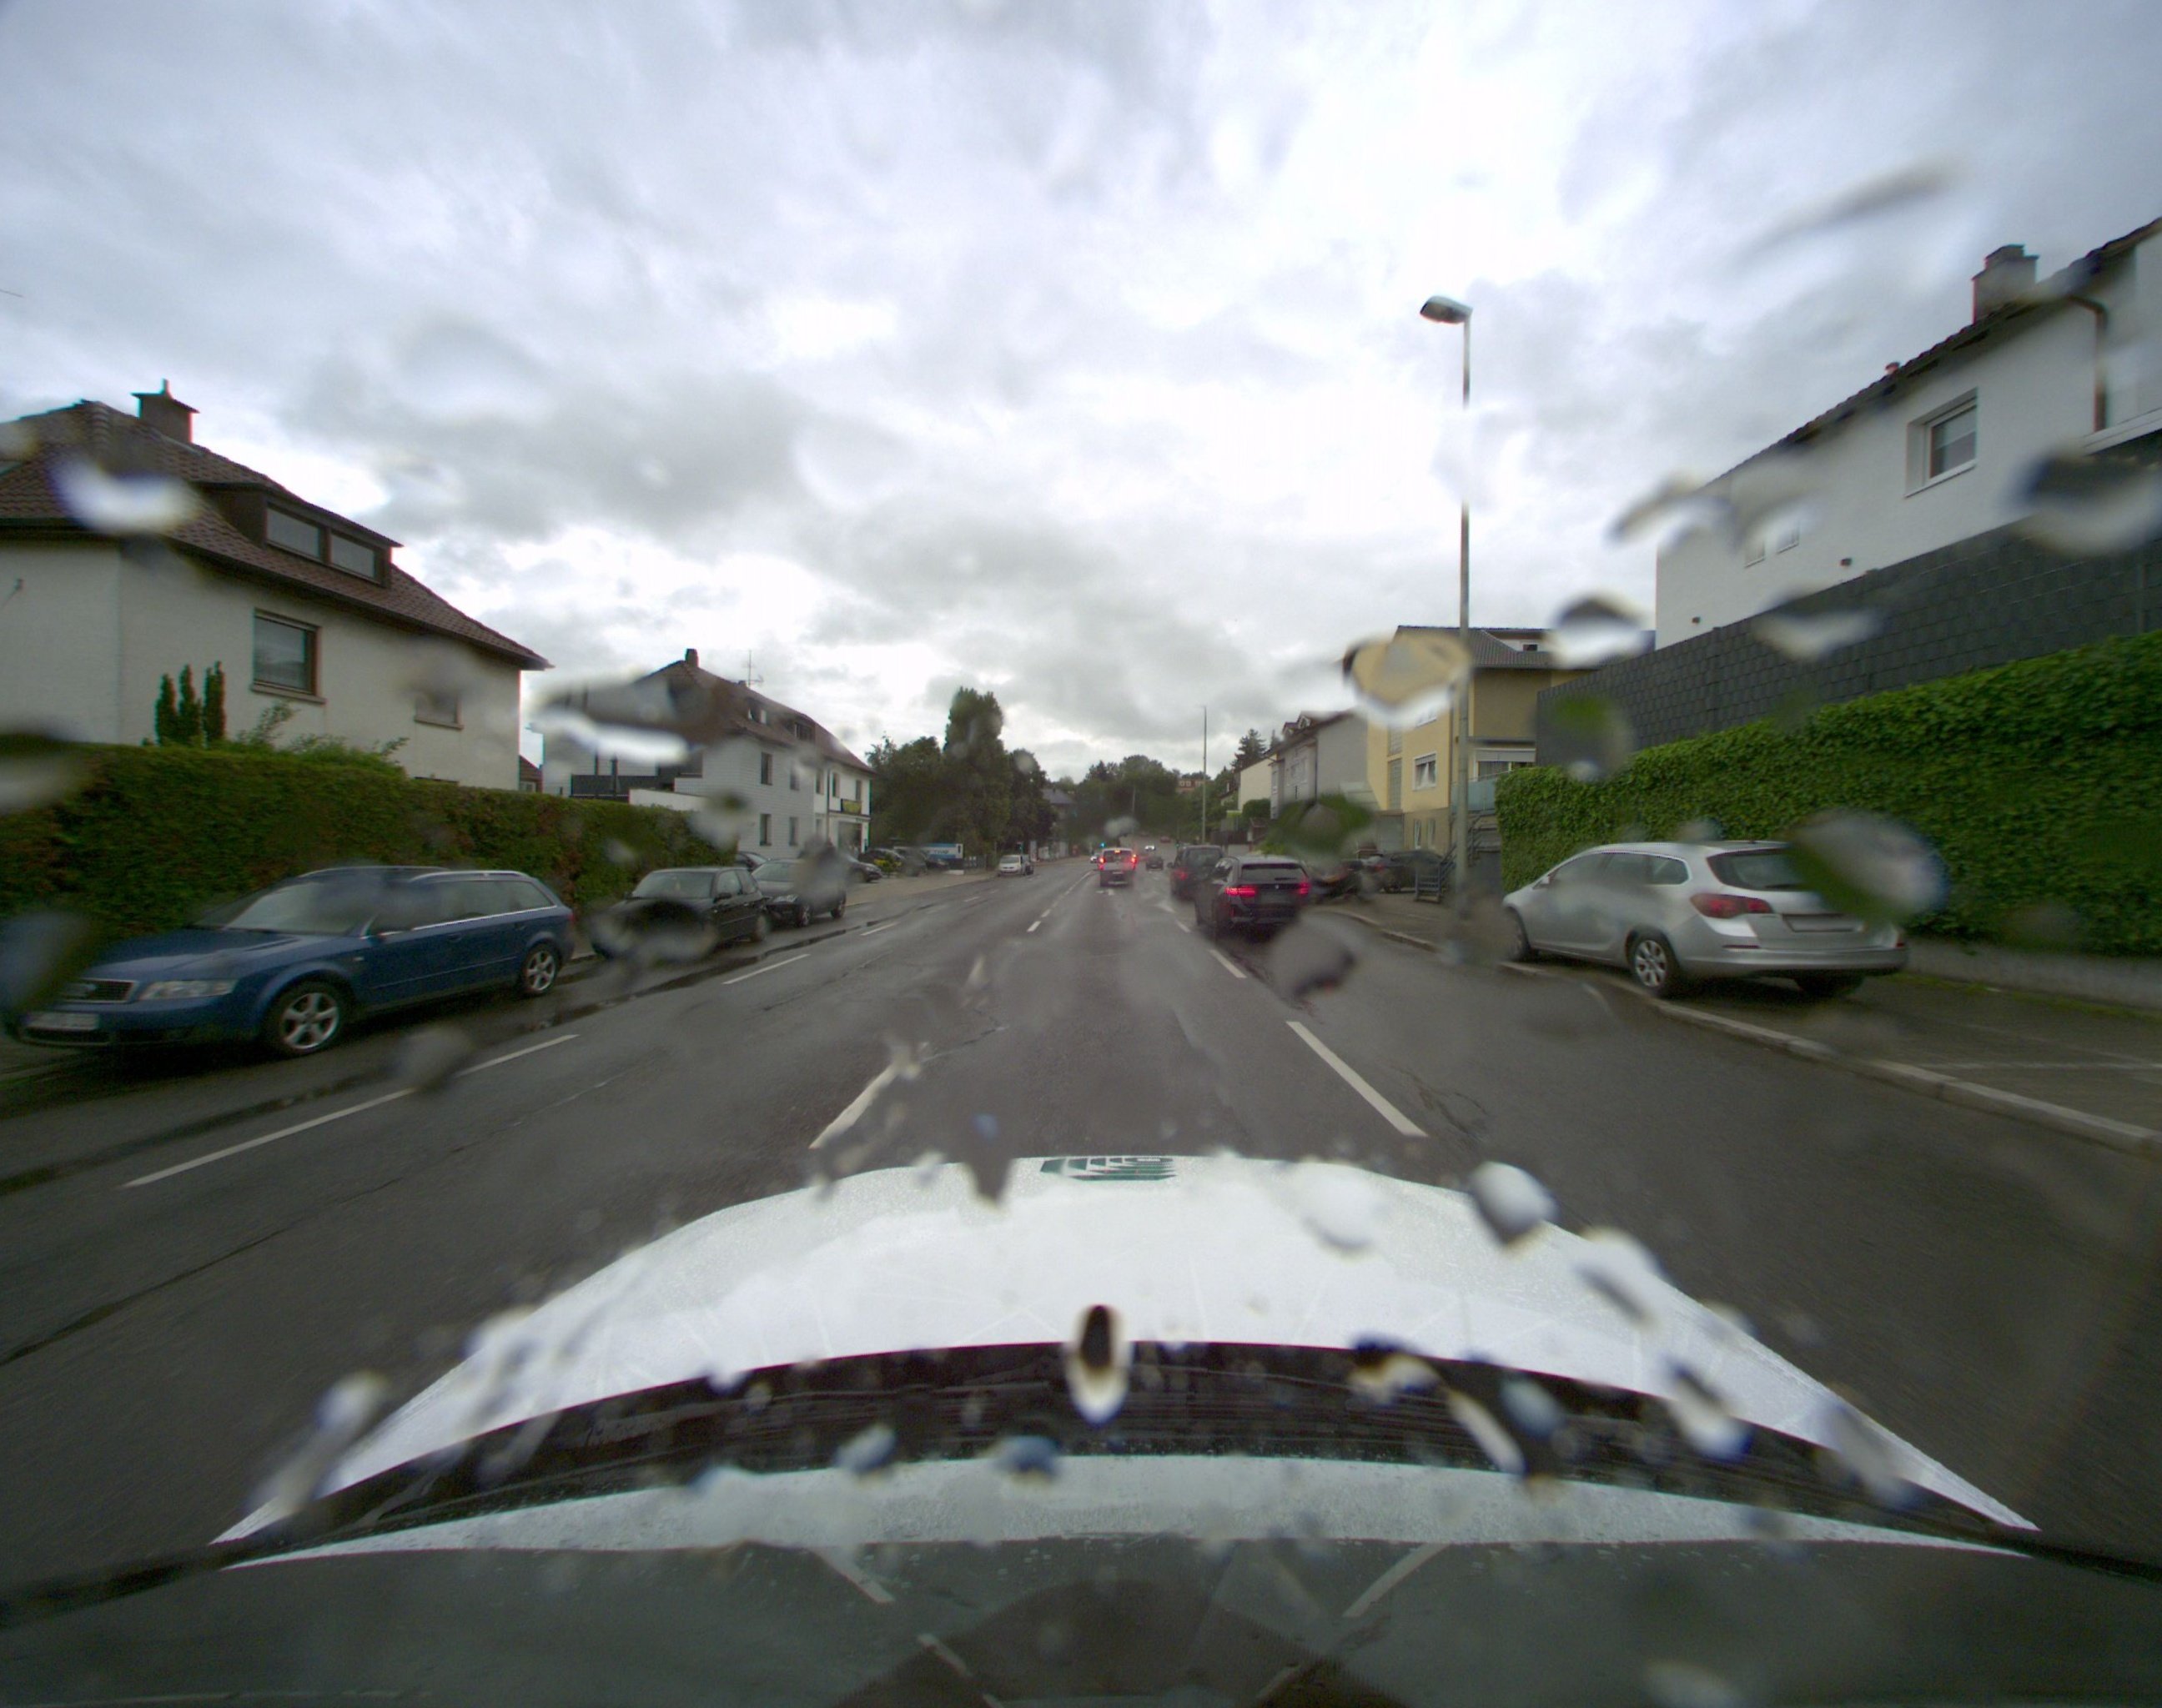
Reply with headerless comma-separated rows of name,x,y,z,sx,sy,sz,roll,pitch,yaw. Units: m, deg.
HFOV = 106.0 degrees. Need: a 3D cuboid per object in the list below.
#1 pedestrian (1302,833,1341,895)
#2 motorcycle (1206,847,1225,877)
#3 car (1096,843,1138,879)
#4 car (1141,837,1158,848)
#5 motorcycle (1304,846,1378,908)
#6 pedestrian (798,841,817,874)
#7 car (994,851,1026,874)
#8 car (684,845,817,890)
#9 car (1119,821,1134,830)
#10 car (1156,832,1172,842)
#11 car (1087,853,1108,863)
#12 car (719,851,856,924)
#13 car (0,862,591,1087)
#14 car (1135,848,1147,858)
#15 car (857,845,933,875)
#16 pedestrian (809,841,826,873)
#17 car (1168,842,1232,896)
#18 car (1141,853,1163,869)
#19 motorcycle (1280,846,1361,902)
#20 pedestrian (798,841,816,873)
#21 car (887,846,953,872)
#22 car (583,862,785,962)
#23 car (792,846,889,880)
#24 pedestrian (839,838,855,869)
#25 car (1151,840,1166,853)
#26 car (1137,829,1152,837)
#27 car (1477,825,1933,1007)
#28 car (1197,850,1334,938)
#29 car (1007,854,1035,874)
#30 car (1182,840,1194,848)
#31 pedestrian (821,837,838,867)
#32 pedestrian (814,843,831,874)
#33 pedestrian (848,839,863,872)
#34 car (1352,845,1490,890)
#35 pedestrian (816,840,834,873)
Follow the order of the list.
pedestrian,6.473,0.259,21.936,0.833,1.649,0.618,0,0,-22
motorcycle,7.260,0.424,44.030,0.700,1.509,2.151,-3,0,2
car,1.809,0.344,40.983,1.986,1.737,4.002,0,0,2
car,14.027,-2.392,167.802,2.518,2.013,5.598,0,3,-6
motorcycle,6.531,0.542,20.406,2.101,1.450,0.812,-2,1,-42
pedestrian,-14.023,0.175,41.760,0.597,1.665,0.651,3,0,7
car,-5.216,0.617,60.500,1.877,1.585,4.002,0,0,2
car,-11.865,0.474,29.413,3.972,1.516,1.856,1,0,1
car,12.798,-7.967,227.393,2.526,2.012,5.583,0,6,-15
car,19.687,-4.028,192.879,2.521,2.013,5.593,0,3,-9
car,2.508,0.611,124.351,1.977,1.547,4.416,0,0,18
car,-6.724,0.709,19.153,1.752,1.532,4.206,0,0,-1
car,-6.944,0.860,7.835,1.750,1.532,4.288,0,0,2
car,10.748,-0.165,146.872,1.986,1.772,4.002,-1,0,2
car,-11.233,0.346,49.399,4.058,1.516,1.856,4,0,1
pedestrian,-14.291,0.162,44.135,0.597,1.665,0.651,3,0,7
car,4.126,0.508,28.750,1.831,1.767,4.002,0,0,2
car,7.219,0.715,82.765,1.986,1.578,4.002,-1,0,2
motorcycle,6.451,0.532,21.907,2.091,1.450,0.753,0,0,-23
pedestrian,-14.344,0.160,42.632,0.597,1.665,0.651,3,0,7
car,-11.086,0.363,56.335,4.058,1.516,1.856,4,0,1
car,-6.506,0.863,13.865,1.547,1.431,4.012,0,0,-1
car,-11.577,0.412,39.430,4.057,1.516,1.856,1,0,1
pedestrian,-13.163,-0.024,45.813,0.597,1.665,0.651,3,0,10
car,13.838,-1.332,145.128,2.510,2.013,5.616,1,3,4
car,16.558,-5.517,213.779,2.522,2.013,5.590,0,4,-10
car,6.271,0.515,9.022,1.694,1.510,4.536,0,0,2
car,3.393,0.672,15.752,1.985,1.484,4.004,0,0,4
car,-4.929,0.793,67.172,1.877,1.585,4.002,0,0,2
car,20.917,-1.926,159.474,1.986,1.585,4.002,0,0,2
pedestrian,-14.223,-0.092,46.032,0.597,1.665,0.651,3,0,7
pedestrian,-14.303,0.239,44.993,0.597,1.665,0.651,3,0,7
pedestrian,-12.475,0.061,45.044,0.599,1.790,0.649,3,0,-4
car,11.621,0.443,28.045,3.974,1.433,1.869,-1,0,0
pedestrian,-13.554,0.130,43.161,0.597,1.665,0.651,3,0,7
